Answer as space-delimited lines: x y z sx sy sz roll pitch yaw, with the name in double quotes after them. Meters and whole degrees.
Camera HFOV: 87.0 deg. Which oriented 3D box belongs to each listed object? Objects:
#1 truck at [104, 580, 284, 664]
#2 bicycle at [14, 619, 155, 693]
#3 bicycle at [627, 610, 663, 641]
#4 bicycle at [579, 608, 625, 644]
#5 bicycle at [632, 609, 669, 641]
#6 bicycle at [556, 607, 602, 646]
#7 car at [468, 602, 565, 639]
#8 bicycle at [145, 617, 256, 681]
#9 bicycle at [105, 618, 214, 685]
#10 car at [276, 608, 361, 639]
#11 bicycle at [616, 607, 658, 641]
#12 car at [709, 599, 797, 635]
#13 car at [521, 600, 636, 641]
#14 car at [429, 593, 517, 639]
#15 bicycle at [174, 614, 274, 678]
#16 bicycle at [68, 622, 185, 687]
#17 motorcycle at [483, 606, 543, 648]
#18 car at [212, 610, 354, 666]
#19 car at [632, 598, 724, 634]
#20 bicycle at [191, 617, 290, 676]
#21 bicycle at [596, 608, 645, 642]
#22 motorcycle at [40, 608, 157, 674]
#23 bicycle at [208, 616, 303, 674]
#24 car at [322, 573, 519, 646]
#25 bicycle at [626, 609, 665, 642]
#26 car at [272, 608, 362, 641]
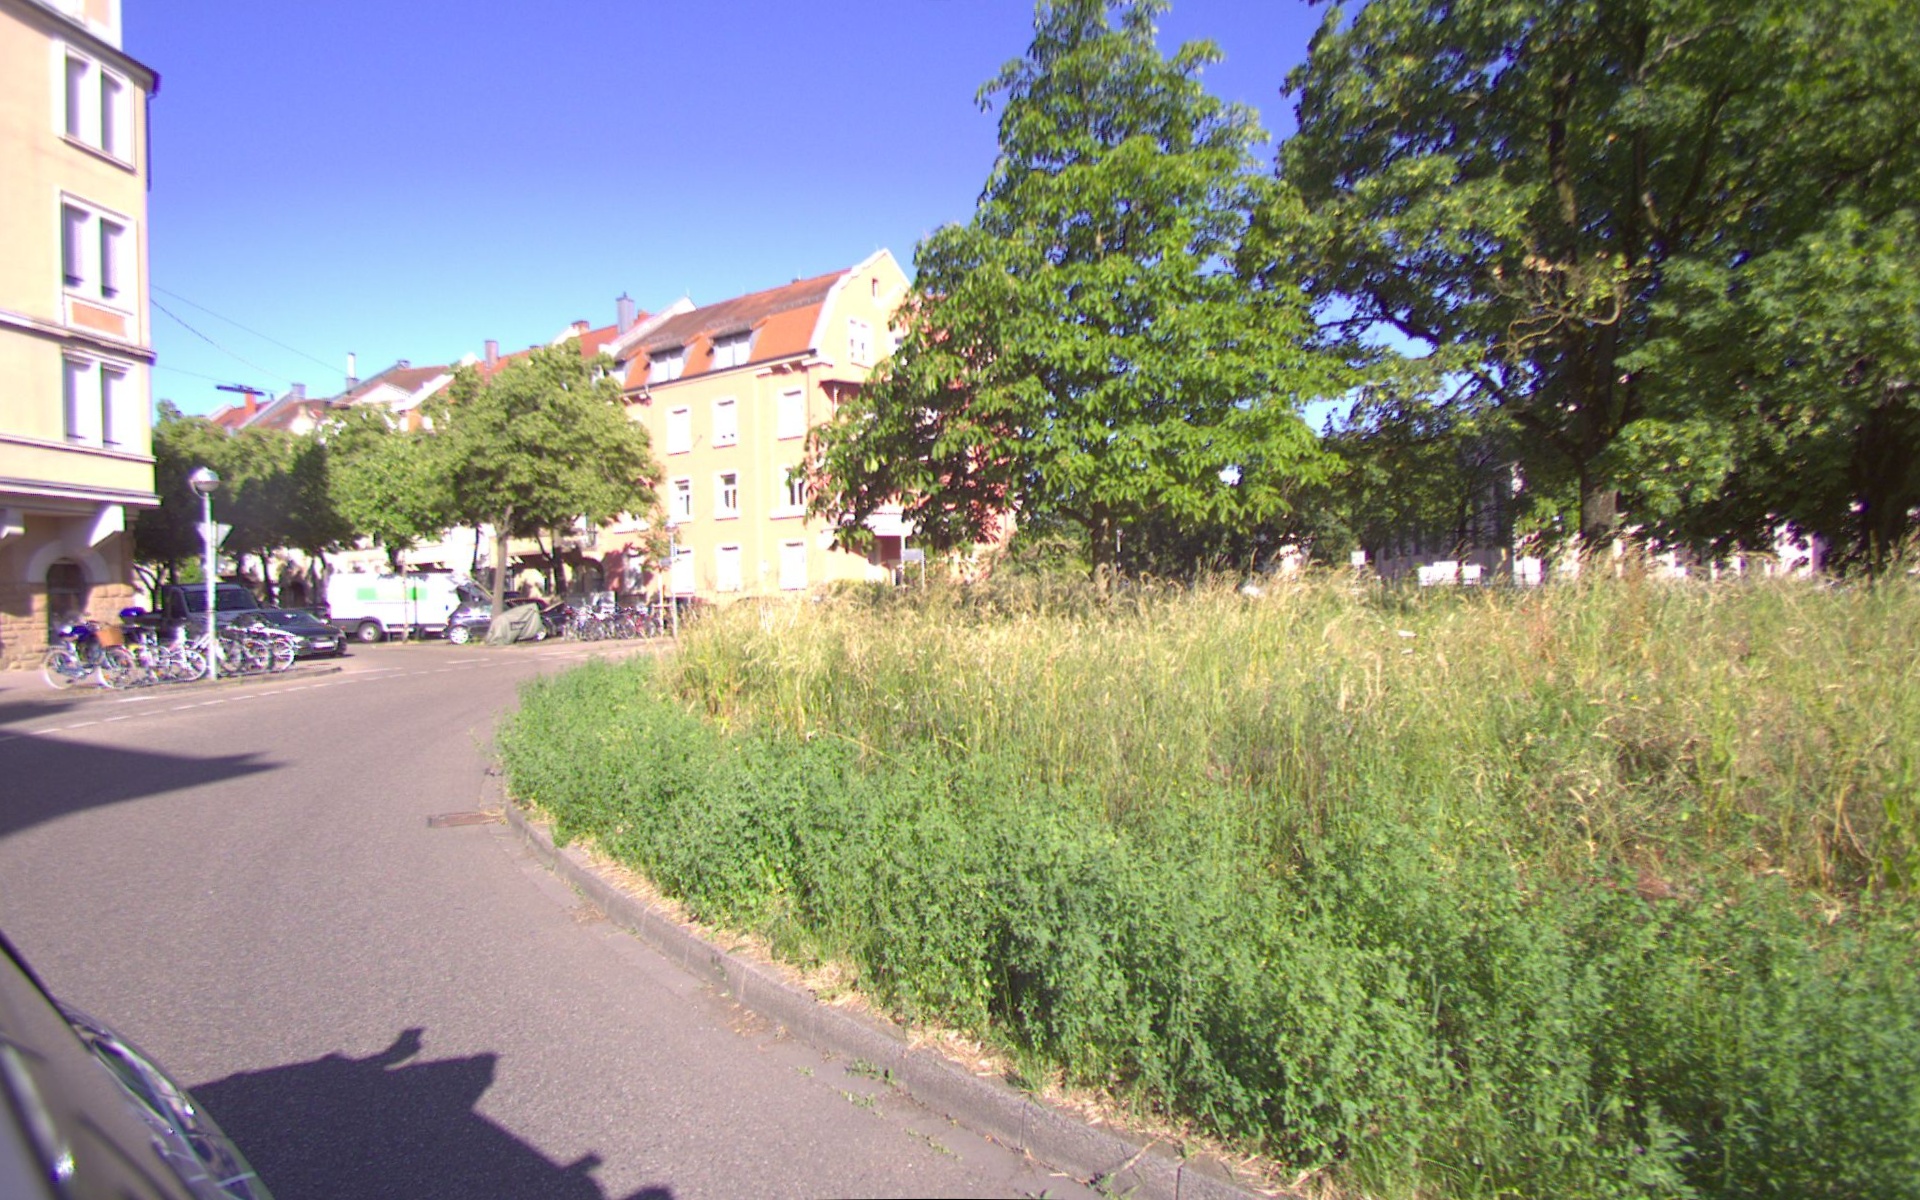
-23.502 0.677 30.940 6.599 2.309 2.117 -1 1 32 "truck"
-14.887 0.947 17.227 1.844 1.138 0.698 -2 1 6 "bicycle"
-11.574 0.937 37.165 1.524 1.094 0.414 -1 2 37 "bicycle"
-11.871 0.855 33.541 1.598 1.135 0.582 -1 1 35 "bicycle"
-10.956 0.892 35.798 1.524 1.094 0.414 -1 2 37 "bicycle"
-12.426 0.856 32.980 1.676 1.202 0.532 -1 1 35 "bicycle"
-18.420 0.834 42.119 3.332 1.457 1.690 0 -1 -43 "car"
-14.601 0.935 19.474 1.674 1.154 0.616 -2 0 3 "bicycle"
-14.733 0.944 18.634 1.679 1.154 0.636 -2 0 12 "bicycle"
-32.196 1.185 50.866 3.326 1.481 1.693 -1 -1 -18 "car"
-11.060 0.822 34.624 1.647 1.110 0.494 -1 1 37 "bicycle"
-8.893 0.728 43.412 3.536 1.457 1.669 -2 -1 34 "car"
-14.497 0.774 38.498 3.855 1.457 1.693 0 -1 -32 "car"
-20.779 0.666 43.175 3.325 1.879 1.693 0 -1 -27 "car"
-14.570 0.906 20.052 1.674 1.200 0.451 -2 0 3 "bicycle"
-14.827 0.973 18.010 1.859 1.098 0.534 -2 0 12 "bicycle"
-14.115 0.849 31.963 0.537 1.280 1.689 -1 -1 38 "motorcycle"
-18.692 1.037 27.905 3.906 1.400 1.671 -2 1 30 "car"
-12.880 0.750 46.193 4.283 1.574 1.669 -2 -1 34 "car"
-14.557 0.933 20.479 1.674 1.132 0.483 -2 0 3 "bicycle"
-11.456 0.848 34.111 1.725 1.097 0.649 -1 1 35 "bicycle"
-19.658 0.915 23.162 0.691 1.422 2.249 -1 -2 2 "motorcycle"
-14.591 0.931 20.976 1.697 1.132 0.482 -2 0 6 "bicycle"
-20.233 0.342 38.278 6.268 2.620 2.109 -1 -1 -16 "car"
-10.961 0.892 35.210 1.571 1.097 0.414 -1 2 37 "bicycle"
-30.795 1.170 48.549 3.326 1.481 1.693 -1 -1 -18 "car"
